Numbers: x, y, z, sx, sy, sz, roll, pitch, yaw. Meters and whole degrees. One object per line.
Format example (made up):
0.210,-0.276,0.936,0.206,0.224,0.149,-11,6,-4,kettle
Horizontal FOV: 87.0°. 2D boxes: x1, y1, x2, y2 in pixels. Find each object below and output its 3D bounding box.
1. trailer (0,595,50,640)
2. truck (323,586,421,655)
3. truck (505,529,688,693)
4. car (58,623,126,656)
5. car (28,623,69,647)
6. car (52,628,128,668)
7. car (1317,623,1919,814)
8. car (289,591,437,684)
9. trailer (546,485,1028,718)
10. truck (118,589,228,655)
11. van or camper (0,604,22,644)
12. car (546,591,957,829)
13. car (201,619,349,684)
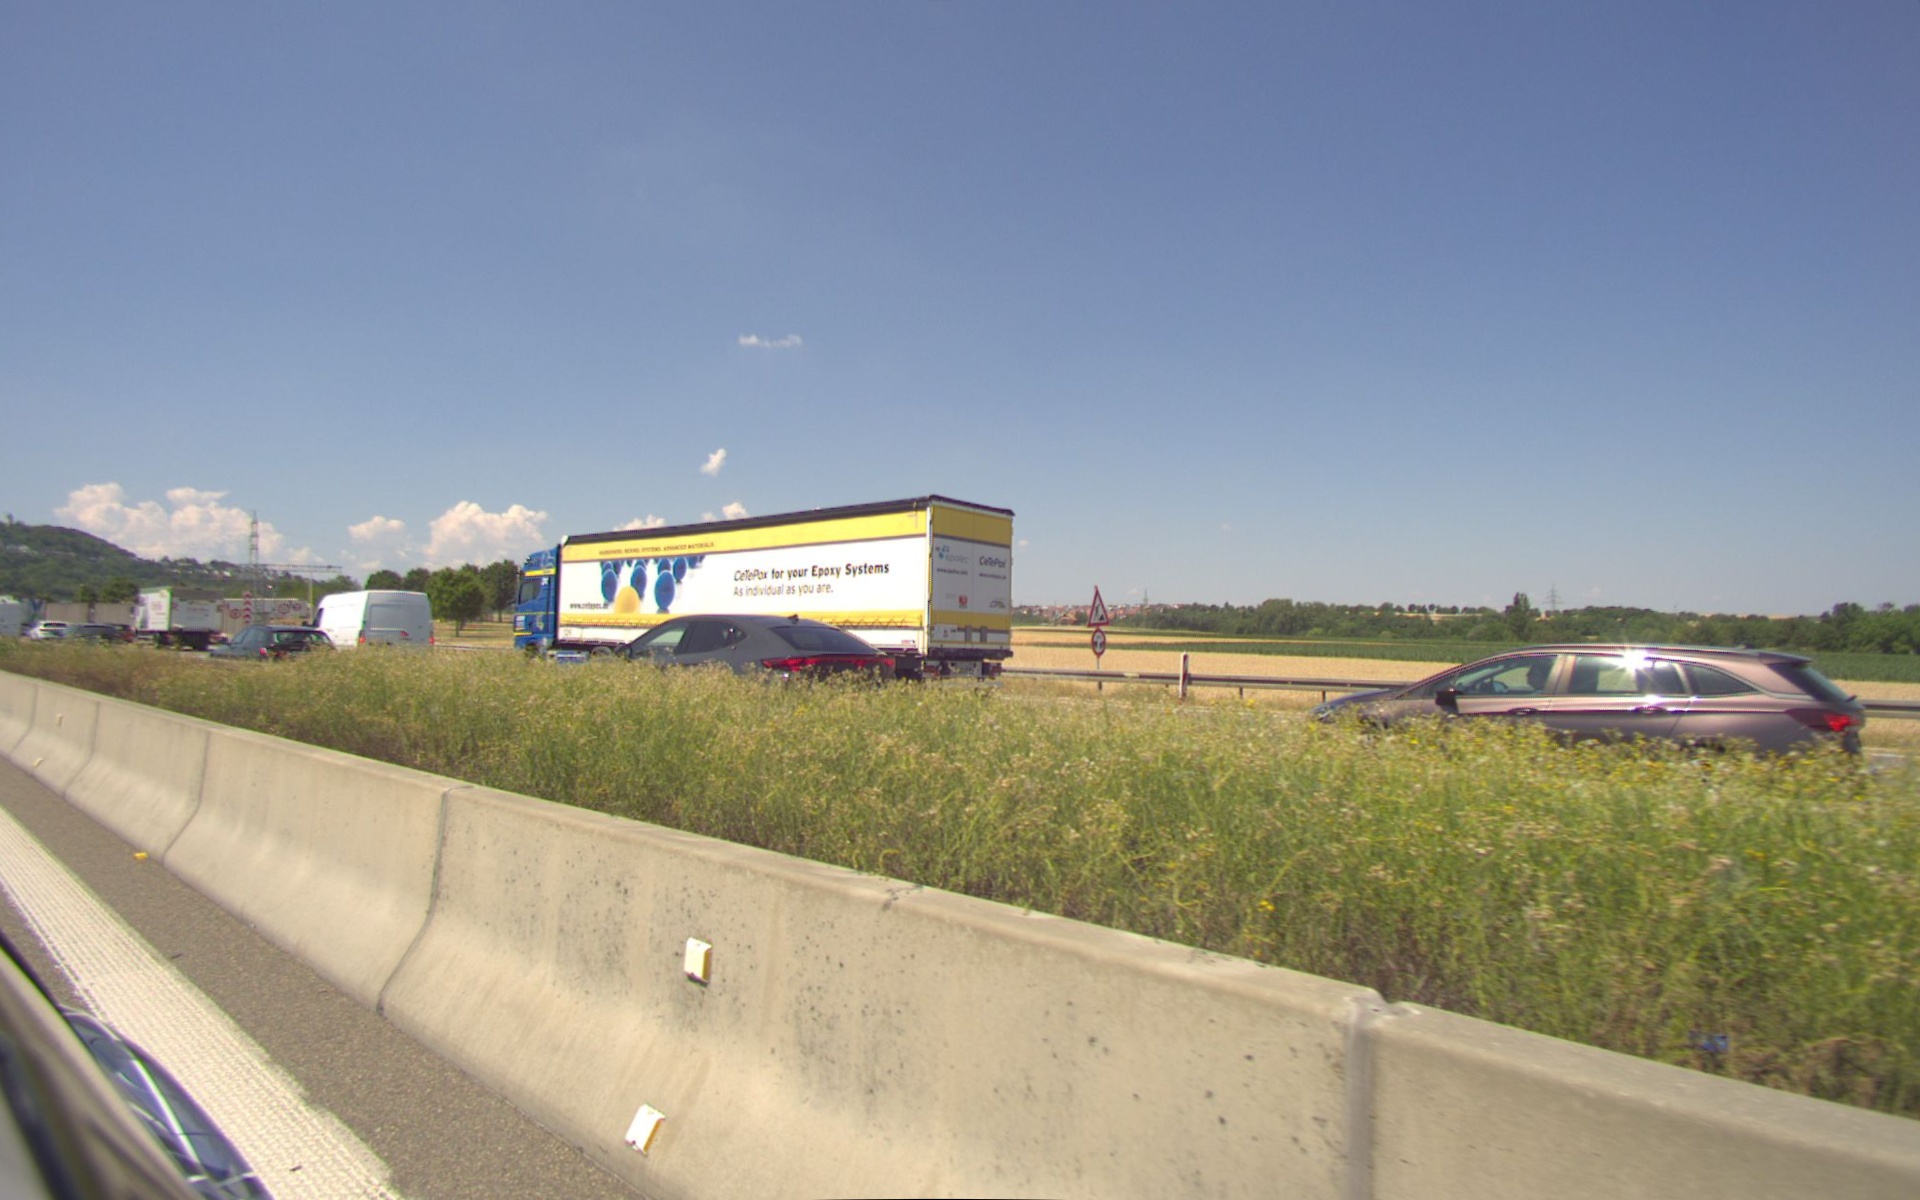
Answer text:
-98.084,1.908,105.699,12.986,4.408,2.862,-1,-4,41,trailer
-36.696,1.367,62.814,2.862,3.806,13.310,4,-4,-40,truck
-10.223,0.366,28.337,4.838,4.160,2.781,-2,-3,41,truck
-48.106,2.176,56.055,5.517,1.723,1.867,-1,-4,40,car
-63.434,2.442,70.423,4.041,1.635,1.543,-1,-3,40,car
-34.284,1.869,39.826,4.530,1.480,1.581,-2,-3,41,car
5.792,0.893,9.313,4.431,1.276,1.729,0,0,41,car
-17.910,1.104,30.237,5.808,2.520,2.025,-2,-3,41,car
-4.885,0.214,23.708,14.121,4.160,2.781,-2,-3,41,trailer
-48.351,1.400,61.963,13.283,3.637,2.765,-1,-4,42,truck
-57.170,1.433,59.641,7.203,2.238,2.014,-1,-1,41,van or camper
-2.427,1.007,10.943,4.684,2.029,1.972,-2,-2,42,car
-16.768,1.180,24.677,4.926,1.345,1.761,0,0,41,car
